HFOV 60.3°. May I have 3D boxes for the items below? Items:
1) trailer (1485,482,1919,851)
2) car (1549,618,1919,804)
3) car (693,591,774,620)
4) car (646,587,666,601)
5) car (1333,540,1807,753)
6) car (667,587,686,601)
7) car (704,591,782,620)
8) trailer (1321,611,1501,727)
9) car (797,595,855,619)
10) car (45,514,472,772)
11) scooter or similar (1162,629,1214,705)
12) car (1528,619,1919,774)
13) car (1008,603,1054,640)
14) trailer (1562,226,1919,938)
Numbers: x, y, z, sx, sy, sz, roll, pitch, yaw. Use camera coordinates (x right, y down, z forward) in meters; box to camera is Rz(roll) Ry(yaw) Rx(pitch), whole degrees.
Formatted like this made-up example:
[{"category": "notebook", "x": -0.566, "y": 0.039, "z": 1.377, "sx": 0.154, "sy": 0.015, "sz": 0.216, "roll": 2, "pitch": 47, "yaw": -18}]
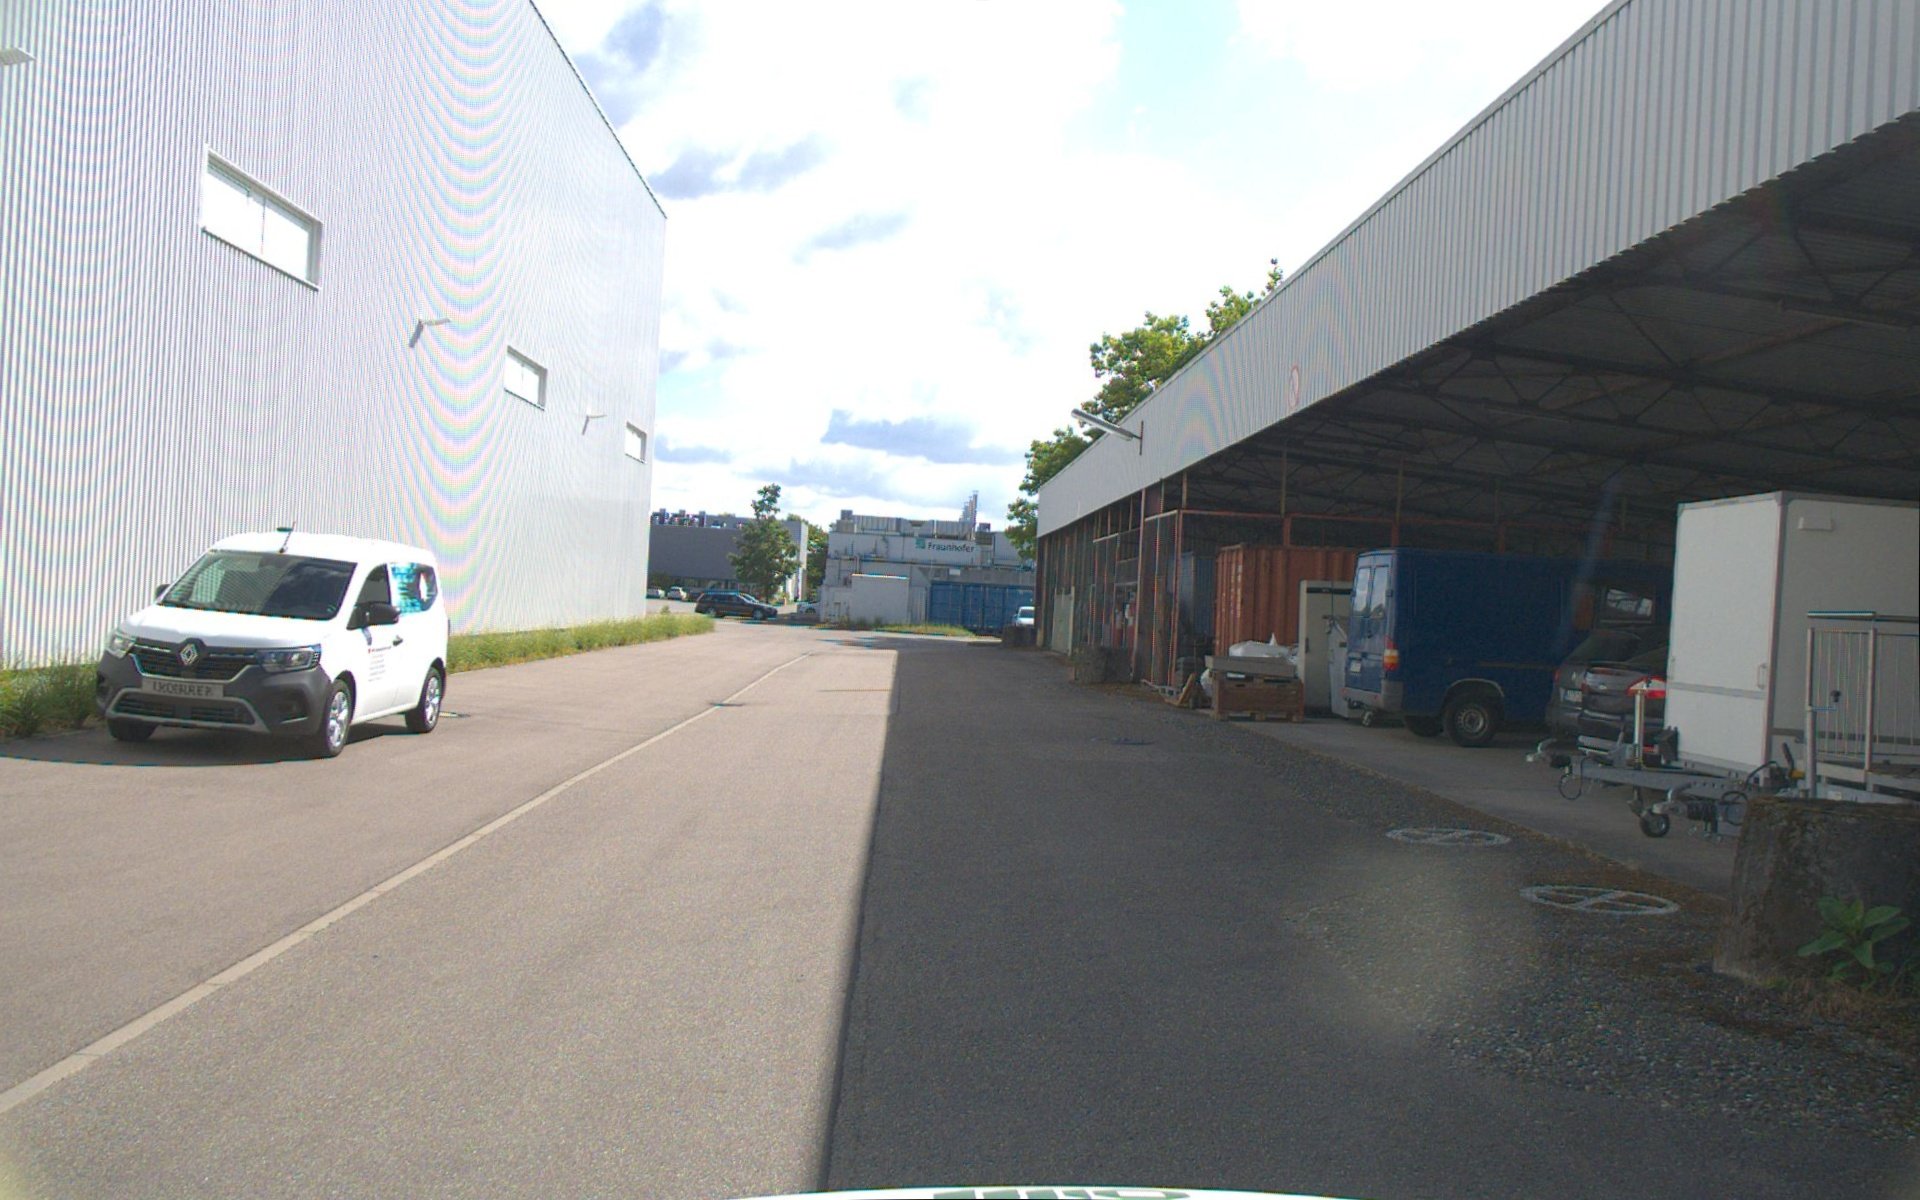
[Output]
[{"category": "trailer", "x": 6.224, "y": 0.463, "z": 11.714, "sx": 4.450, "sy": 2.376, "sz": 1.688, "roll": 1, "pitch": 0, "yaw": -2}, {"category": "car", "x": 7.584, "y": 0.933, "z": 14.373, "sx": 4.260, "sy": 1.458, "sz": 1.863, "roll": 1, "pitch": -1, "yaw": -6}, {"category": "car", "x": -13.195, "y": 0.335, "z": 96.728, "sx": 4.439, "sy": 1.468, "sz": 1.986, "roll": 3, "pitch": -2, "yaw": -2}, {"category": "car", "x": -35.340, "y": -0.731, "z": 192.563, "sx": 1.840, "sy": 1.564, "sz": 4.031, "roll": 1, "pitch": 0, "yaw": -5}, {"category": "car", "x": 7.485, "y": 0.566, "z": 20.631, "sx": 5.112, "sy": 2.337, "sz": 2.083, "roll": 2, "pitch": -1, "yaw": -3}, {"category": "car", "x": -33.070, "y": -0.682, "z": 192.891, "sx": 1.840, "sy": 1.564, "sz": 4.031, "roll": 1, "pitch": 0, "yaw": -5}, {"category": "car", "x": -13.090, "y": 0.349, "z": 99.994, "sx": 4.439, "sy": 1.468, "sz": 1.903, "roll": 3, "pitch": -2, "yaw": -2}, {"category": "trailer", "x": 6.278, "y": 0.942, "z": 23.178, "sx": 2.051, "sy": 1.488, "sz": 1.641, "roll": 2, "pitch": -1, "yaw": 1}, {"category": "car", "x": -10.065, "y": 0.541, "z": 124.637, "sx": 4.193, "sy": 1.596, "sz": 1.986, "roll": 3, "pitch": -2, "yaw": -2}, {"category": "car", "x": -5.984, "y": 0.328, "z": 14.828, "sx": 1.890, "sy": 1.821, "sz": 4.596, "roll": 4, "pitch": 0, "yaw": -2}, {"category": "scooter or similar", "x": 3.605, "y": 1.044, "z": 26.233, "sx": 0.510, "sy": 1.154, "sz": 1.591, "roll": 2, "pitch": -1, "yaw": -3}, {"category": "car", "x": 8.333, "y": 0.983, "z": 17.466, "sx": 4.025, "sy": 1.479, "sz": 1.849, "roll": 1, "pitch": -1, "yaw": -3}, {"category": "car", "x": 3.621, "y": 1.092, "z": 84.904, "sx": 1.941, "sy": 1.621, "sz": 4.339, "roll": 3, "pitch": 1, "yaw": -3}, {"category": "trailer", "x": 8.913, "y": 0.012, "z": 9.315, "sx": 10.085, "sy": 3.353, "sz": 2.674, "roll": 1, "pitch": 0, "yaw": -2}]
